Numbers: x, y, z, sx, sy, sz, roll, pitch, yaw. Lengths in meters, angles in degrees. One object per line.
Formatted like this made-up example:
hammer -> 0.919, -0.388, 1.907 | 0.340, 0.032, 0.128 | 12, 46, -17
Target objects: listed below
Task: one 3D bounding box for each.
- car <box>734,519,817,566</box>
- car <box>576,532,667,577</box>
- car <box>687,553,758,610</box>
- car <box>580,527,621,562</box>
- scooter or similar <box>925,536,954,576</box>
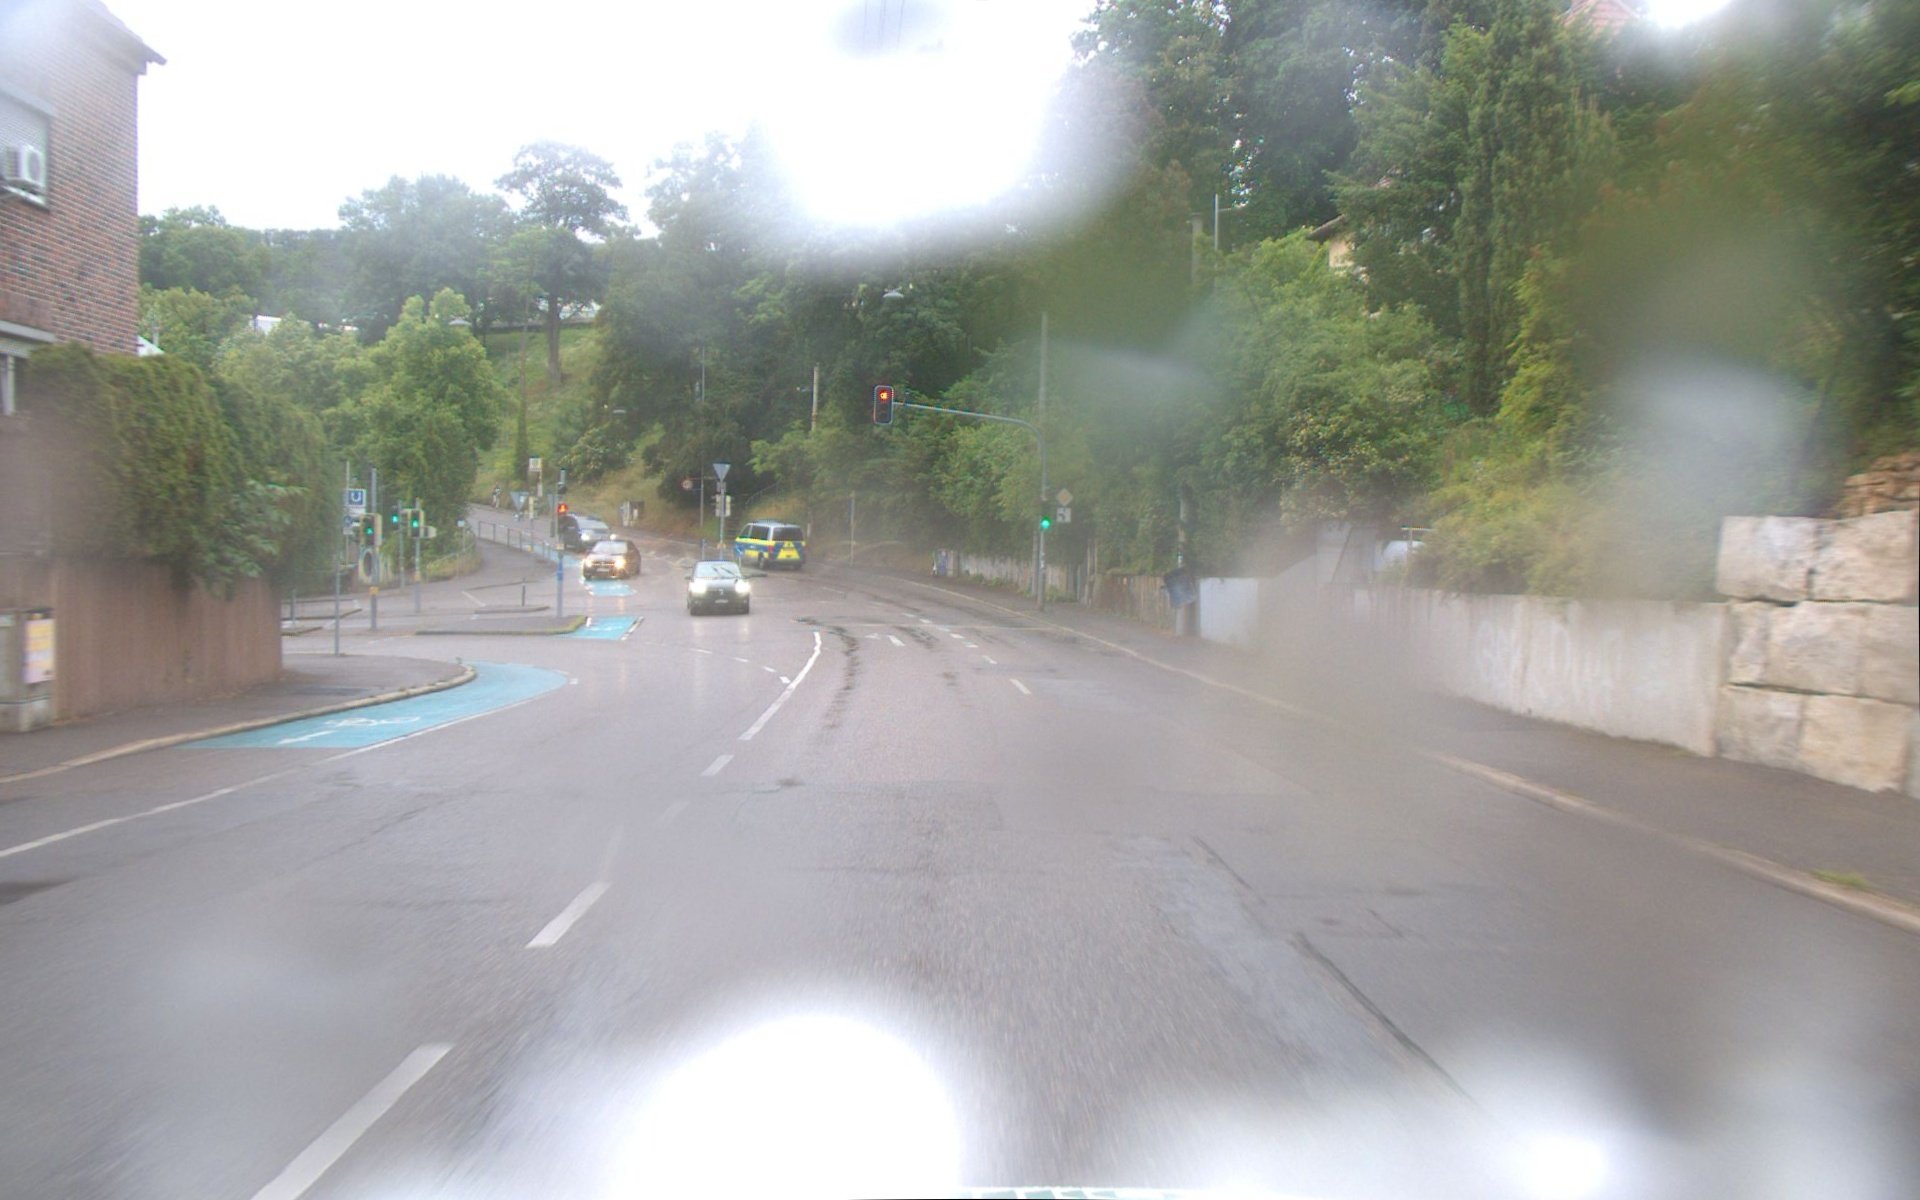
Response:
car -> -8.177, -2.581, 73.144 | 2.281, 1.972, 4.289 | -3, 4, -27
car -> -13.599, -1.865, 66.619 | 1.705, 1.576, 4.003 | -1, 4, 20
car -> -7.069, -0.586, 48.986 | 1.711, 1.577, 3.987 | -2, 2, -13
car -> -17.366, -2.696, 79.832 | 1.712, 1.576, 3.985 | -2, 4, -15
scooter or similar -> -0.842, -1.774, 66.281 | 0.607, 1.446, 2.151 | -1, 5, -16
